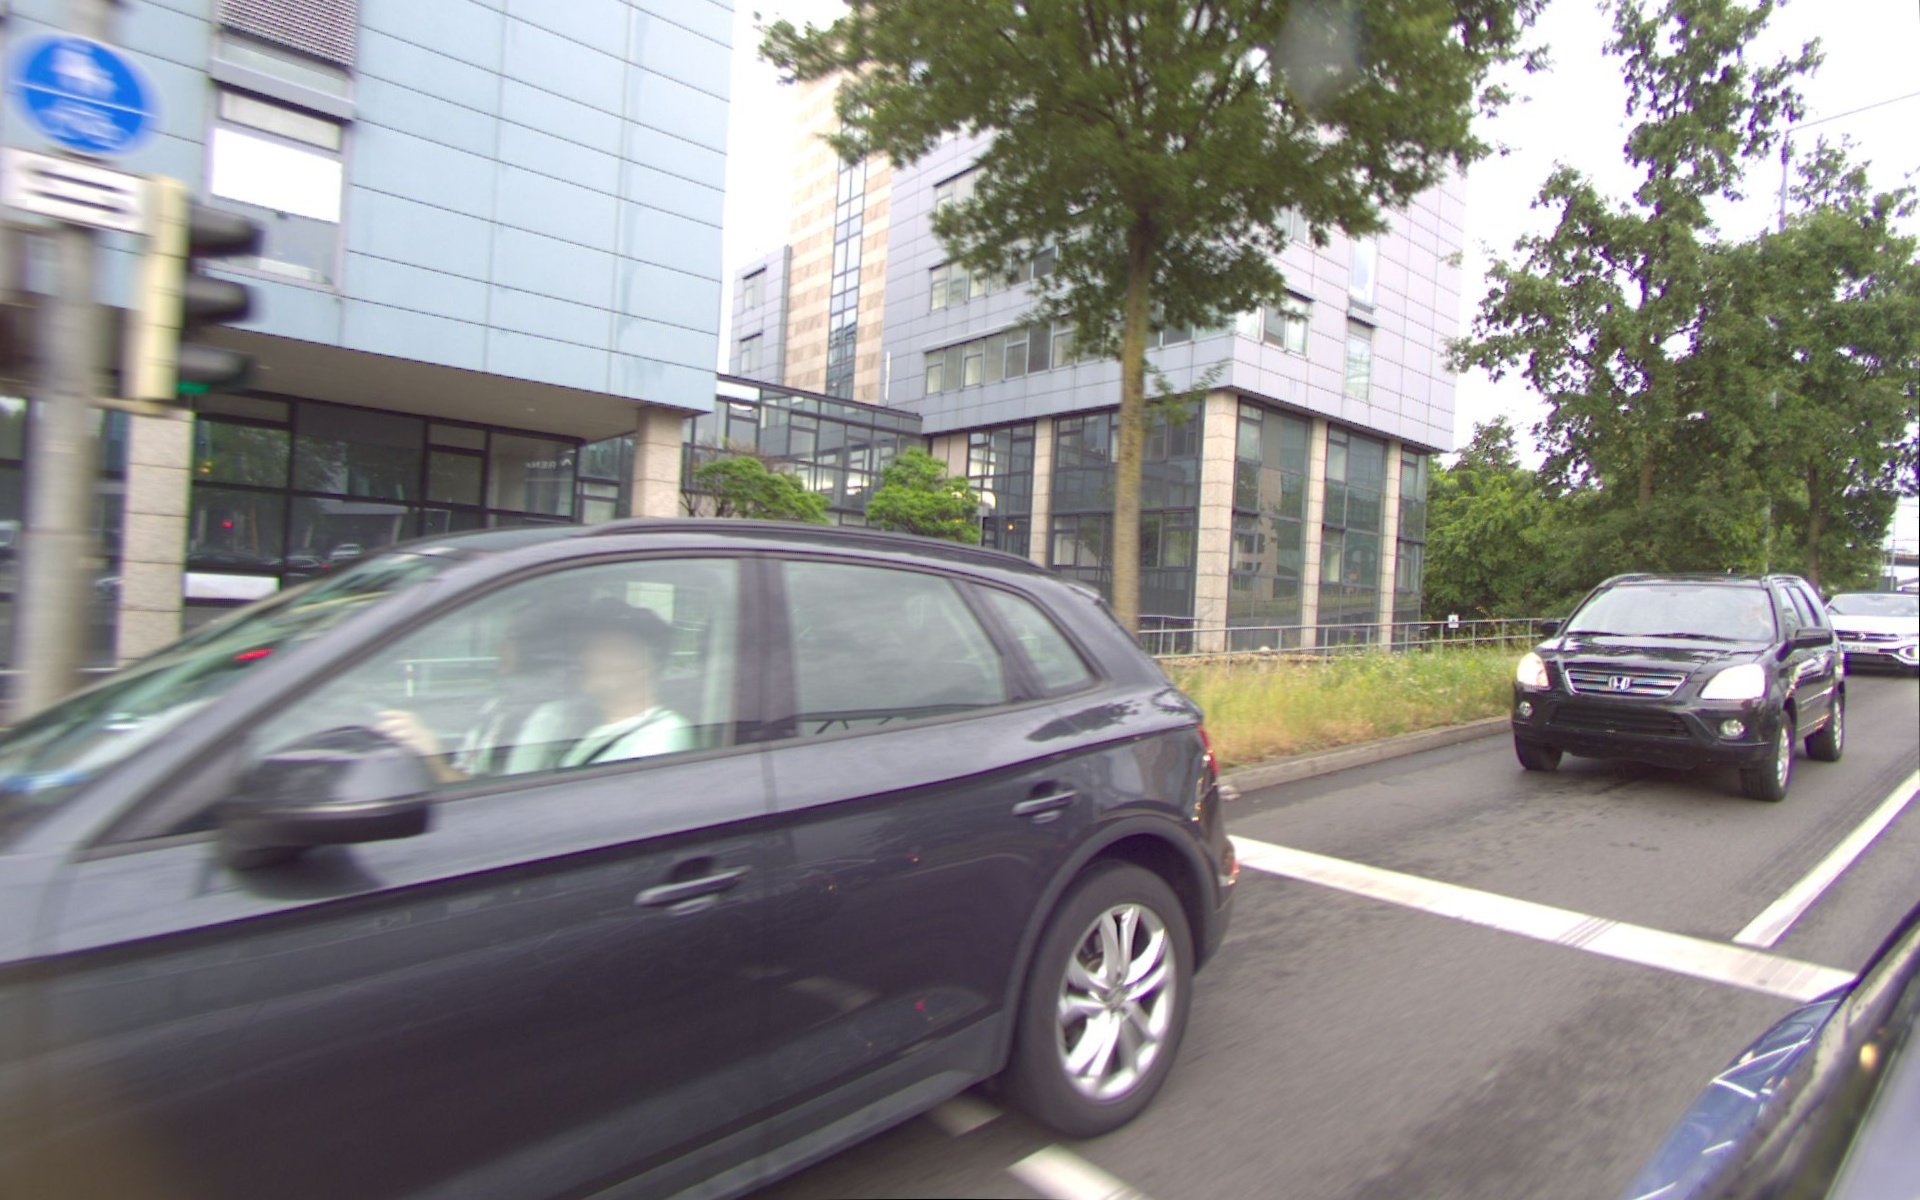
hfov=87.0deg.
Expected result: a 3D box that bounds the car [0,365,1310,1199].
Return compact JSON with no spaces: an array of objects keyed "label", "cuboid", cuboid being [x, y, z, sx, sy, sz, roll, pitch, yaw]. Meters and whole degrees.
[{"label":"car","cuboid":[-1.092,0.542,2.534,4.294,1.691,1.815,0,1,-41]}]

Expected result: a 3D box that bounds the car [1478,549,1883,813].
[{"label":"car","cuboid":[6.309,0.509,8.640,4.469,1.691,1.815,0,1,-41]}]

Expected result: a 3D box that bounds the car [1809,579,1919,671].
[{"label":"car","cuboid":[17.524,0.432,18.959,4.034,1.562,1.871,0,1,-41]}]
